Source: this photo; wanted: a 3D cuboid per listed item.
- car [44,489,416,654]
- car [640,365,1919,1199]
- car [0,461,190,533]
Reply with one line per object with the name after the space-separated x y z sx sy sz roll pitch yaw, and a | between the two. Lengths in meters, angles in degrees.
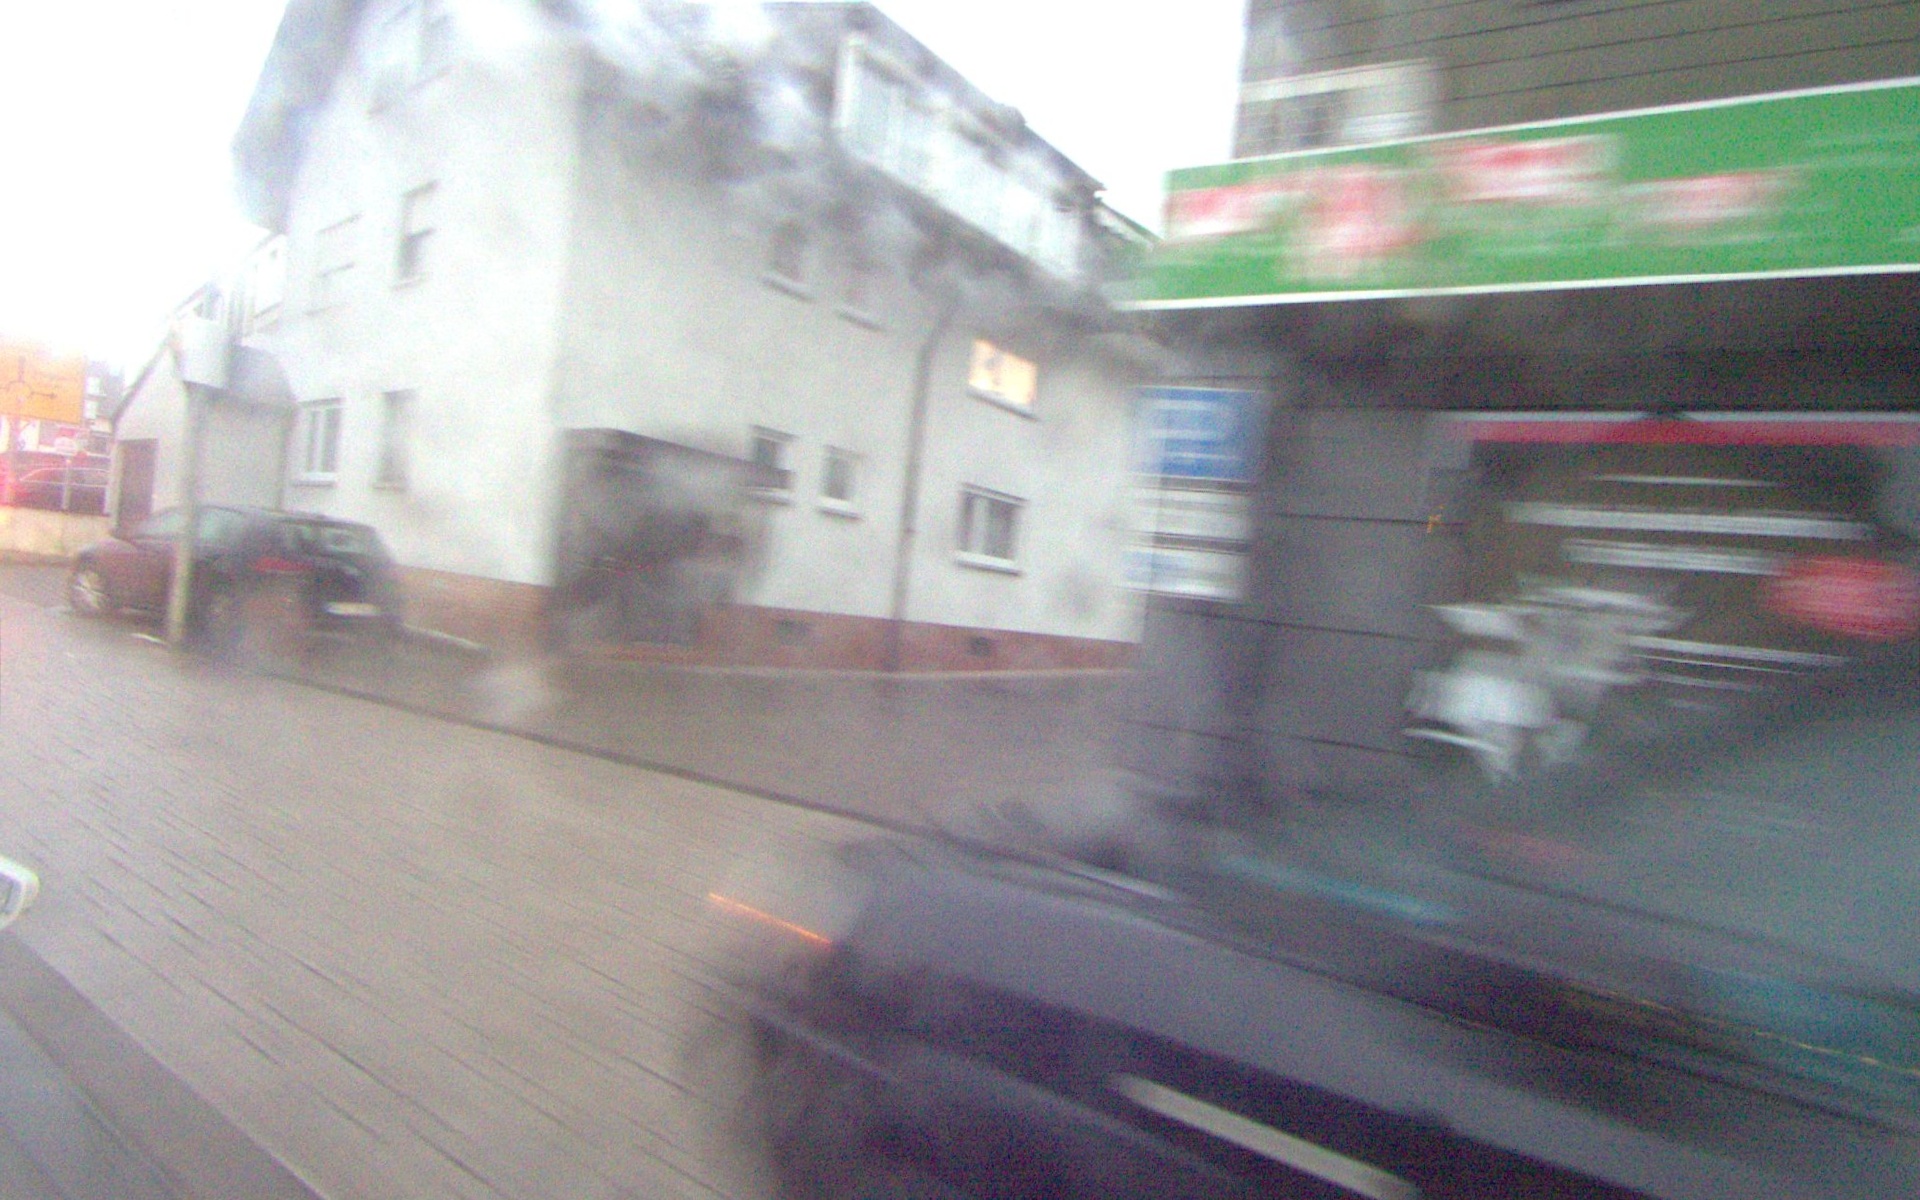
-8.364 -0.354 11.514 3.844 1.412 1.768 7 2 25 | car
1.583 0.770 1.346 3.936 1.806 1.768 7 4 34 | car
-22.506 -2.609 25.689 1.776 1.664 4.163 8 7 36 | car
